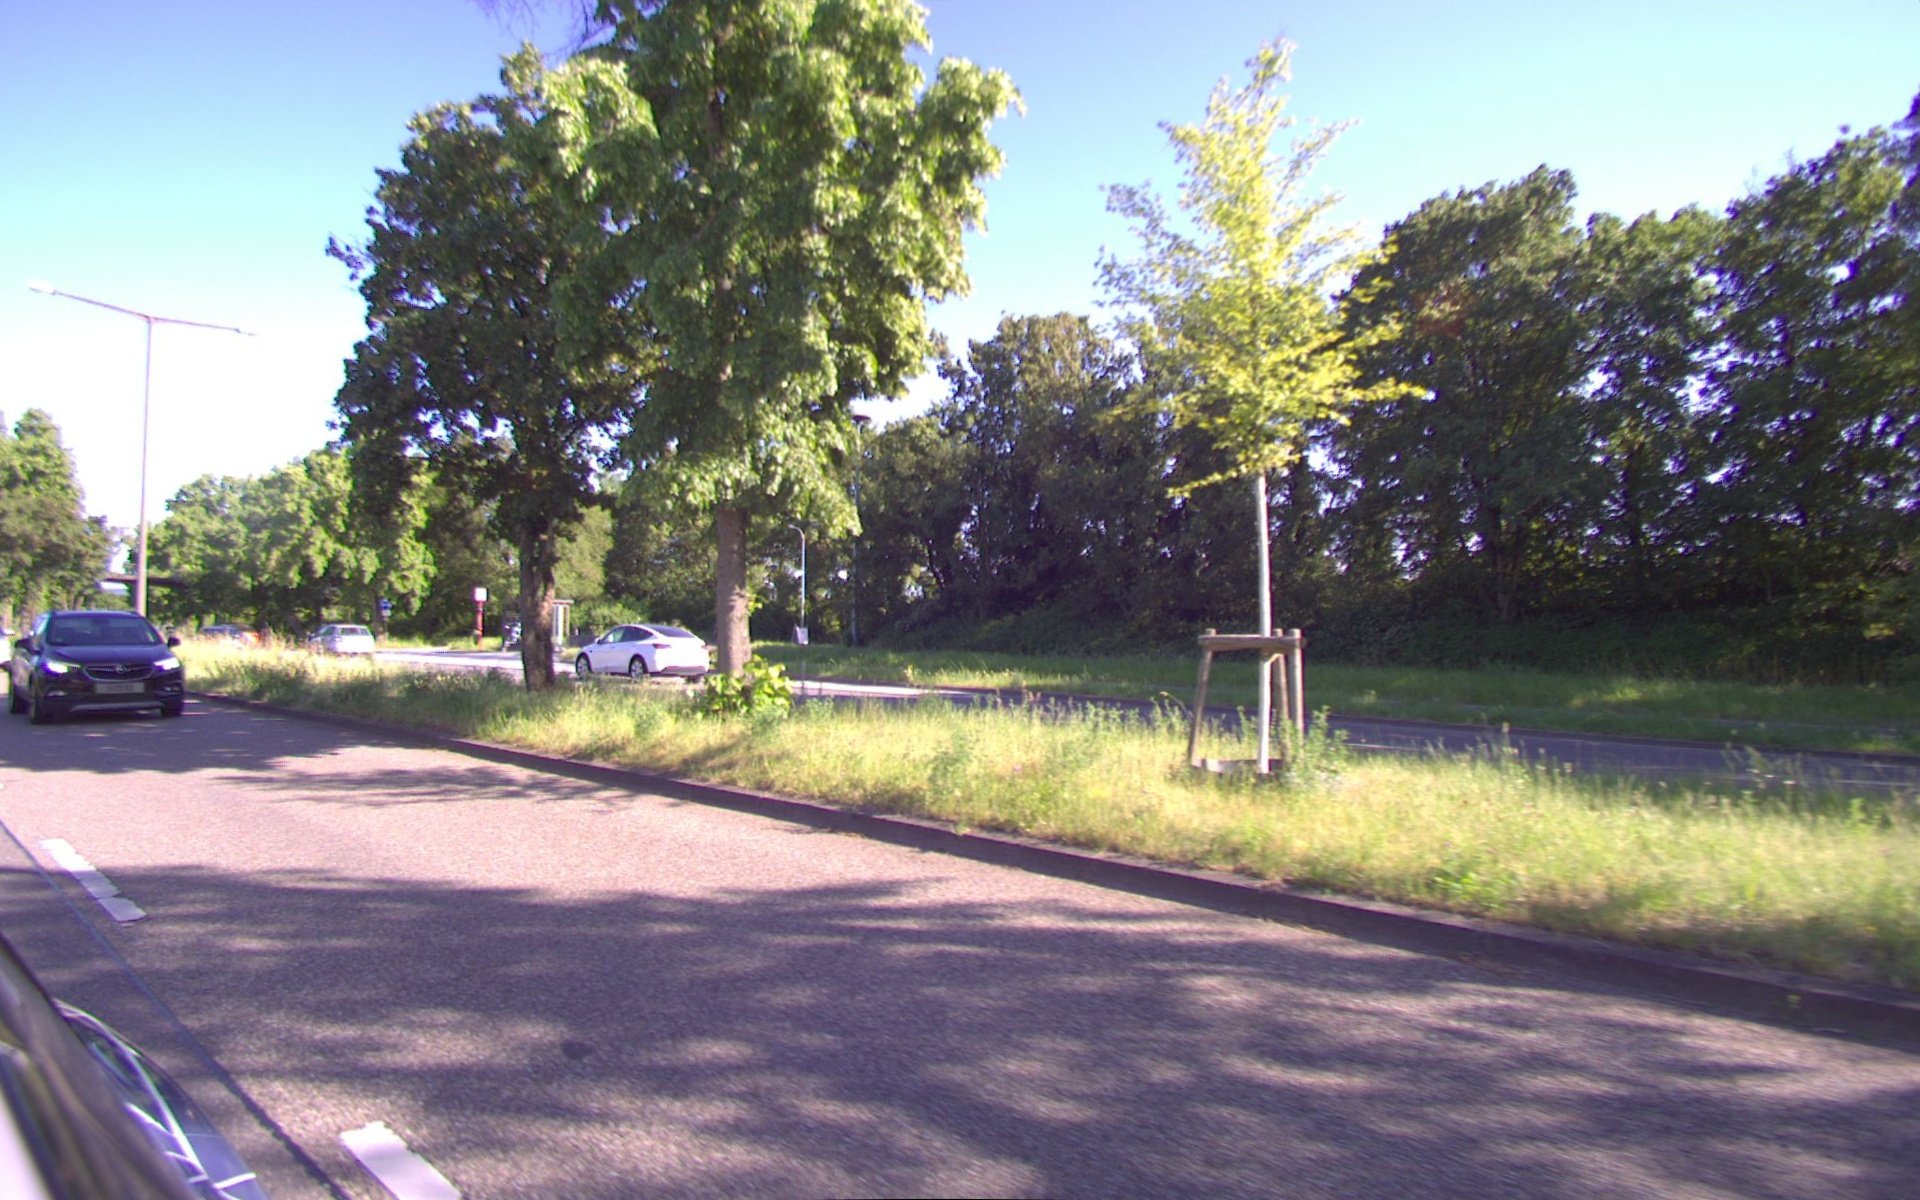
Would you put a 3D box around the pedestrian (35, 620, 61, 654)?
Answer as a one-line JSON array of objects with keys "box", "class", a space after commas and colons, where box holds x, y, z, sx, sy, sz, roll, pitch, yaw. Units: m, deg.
[{"box": [-46.213, 1.859, 51.299, 0.621, 1.709, 0.946, 0, -2, -18], "class": "pedestrian"}]

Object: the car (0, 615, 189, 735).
[{"box": [-13.734, 1.067, 15.828, 4.512, 1.627, 1.787, -1, -2, 41], "class": "car"}]

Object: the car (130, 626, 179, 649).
[{"box": [-54.772, 2.547, 68.761, 4.593, 1.512, 1.786, -2, -2, 41], "class": "car"}]

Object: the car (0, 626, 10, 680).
[{"box": [-30.403, 1.629, 30.786, 4.645, 1.574, 1.799, -3, -2, 42], "class": "car"}]

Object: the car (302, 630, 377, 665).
[{"box": [-27.340, 2.087, 44.520, 4.063, 1.483, 1.694, -2, -4, 42], "class": "car"}]

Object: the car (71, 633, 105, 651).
[{"box": [-77.007, 3.686, 89.369, 4.215, 1.512, 1.786, -2, -2, 43], "class": "car"}]

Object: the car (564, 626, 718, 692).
[{"box": [-8.957, 1.636, 28.252, 4.581, 1.601, 1.821, -2, -8, 40], "class": "car"}]

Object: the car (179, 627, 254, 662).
[{"box": [-31.420, 1.860, 42.721, 4.248, 1.406, 1.683, -2, -2, 42], "class": "car"}]

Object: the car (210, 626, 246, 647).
[{"box": [-49.518, 2.462, 68.461, 1.563, 1.425, 3.134, 1, -2, -44], "class": "car"}]

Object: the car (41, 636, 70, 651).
[{"box": [-91.808, 4.419, 102.754, 4.215, 1.512, 1.786, -2, -2, 43], "class": "car"}]
